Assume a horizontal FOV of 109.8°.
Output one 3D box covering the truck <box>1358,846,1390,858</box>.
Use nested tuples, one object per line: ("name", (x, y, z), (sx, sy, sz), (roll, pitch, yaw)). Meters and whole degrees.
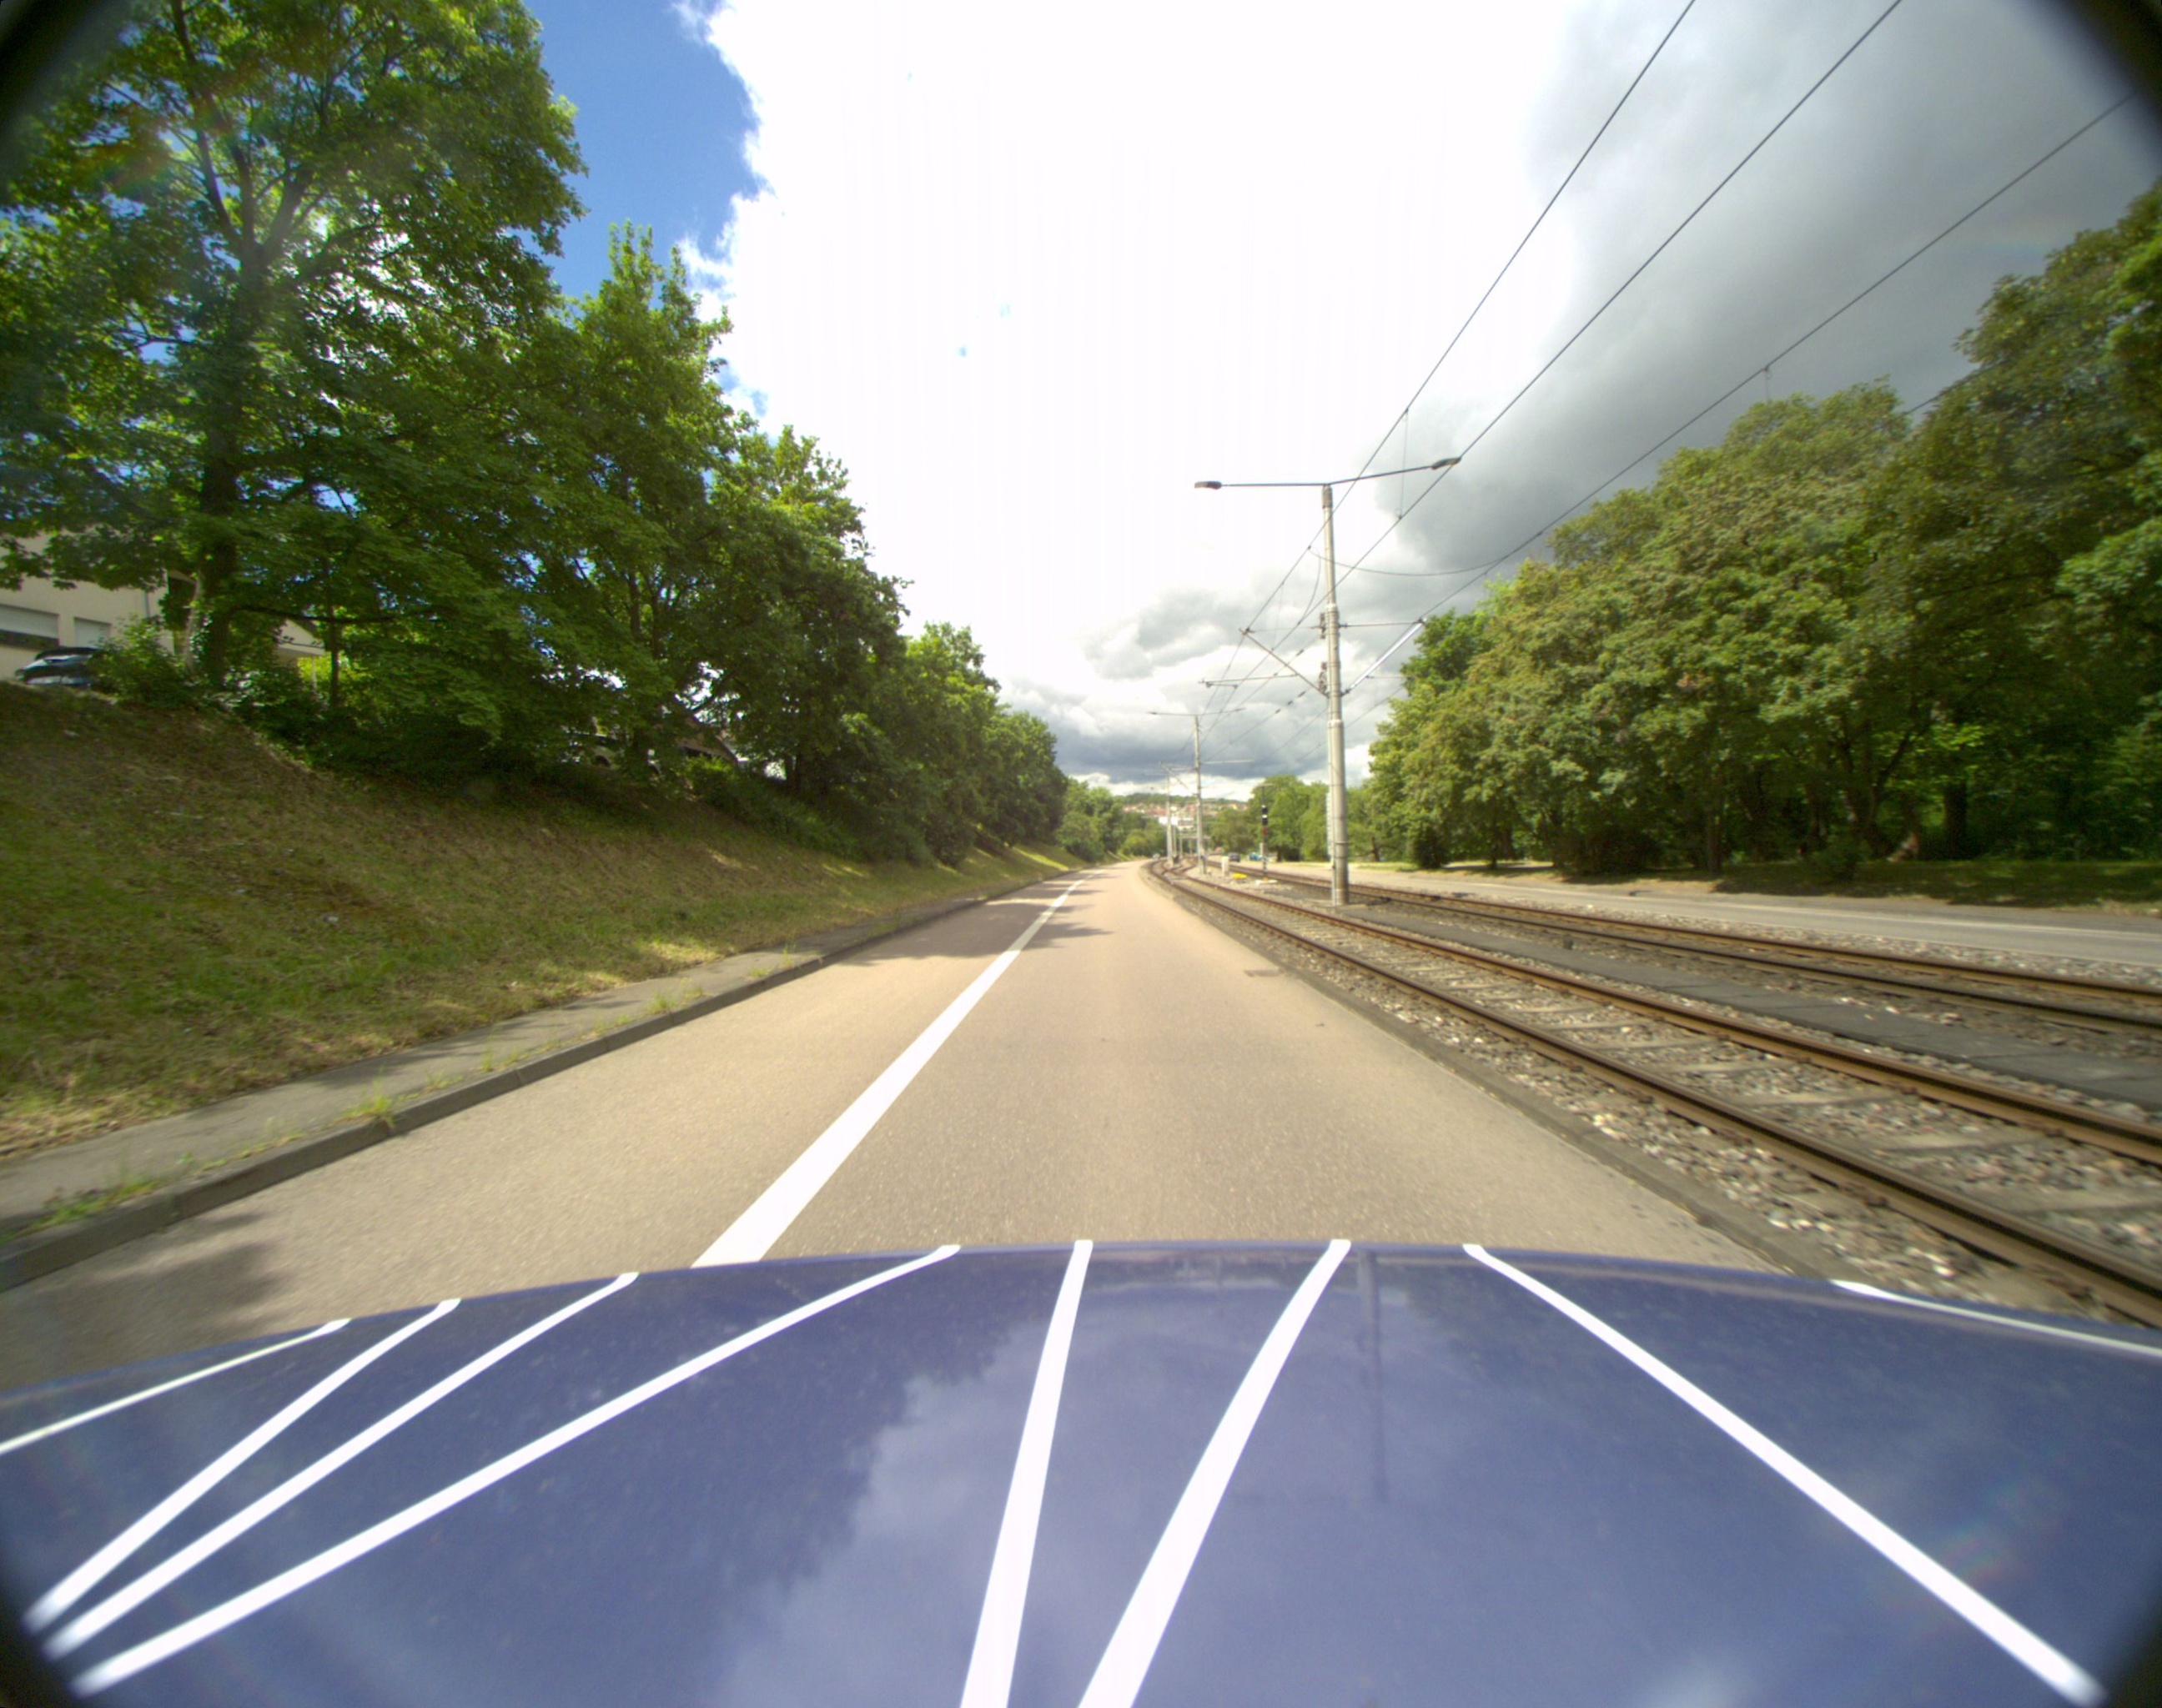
("truck", (67.880, -0.503, 176.113), (6.613, 2.839, 2.682), (1, 0, 11))

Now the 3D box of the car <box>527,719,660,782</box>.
("car", (-15.969, -3.336, 25.159), (1.779, 1.490, 3.997), (-2, 0, 0))

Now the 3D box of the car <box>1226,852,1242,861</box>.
("car", (22.418, 0.371, 111.555), (1.839, 1.383, 4.863), (0, 0, 5))
